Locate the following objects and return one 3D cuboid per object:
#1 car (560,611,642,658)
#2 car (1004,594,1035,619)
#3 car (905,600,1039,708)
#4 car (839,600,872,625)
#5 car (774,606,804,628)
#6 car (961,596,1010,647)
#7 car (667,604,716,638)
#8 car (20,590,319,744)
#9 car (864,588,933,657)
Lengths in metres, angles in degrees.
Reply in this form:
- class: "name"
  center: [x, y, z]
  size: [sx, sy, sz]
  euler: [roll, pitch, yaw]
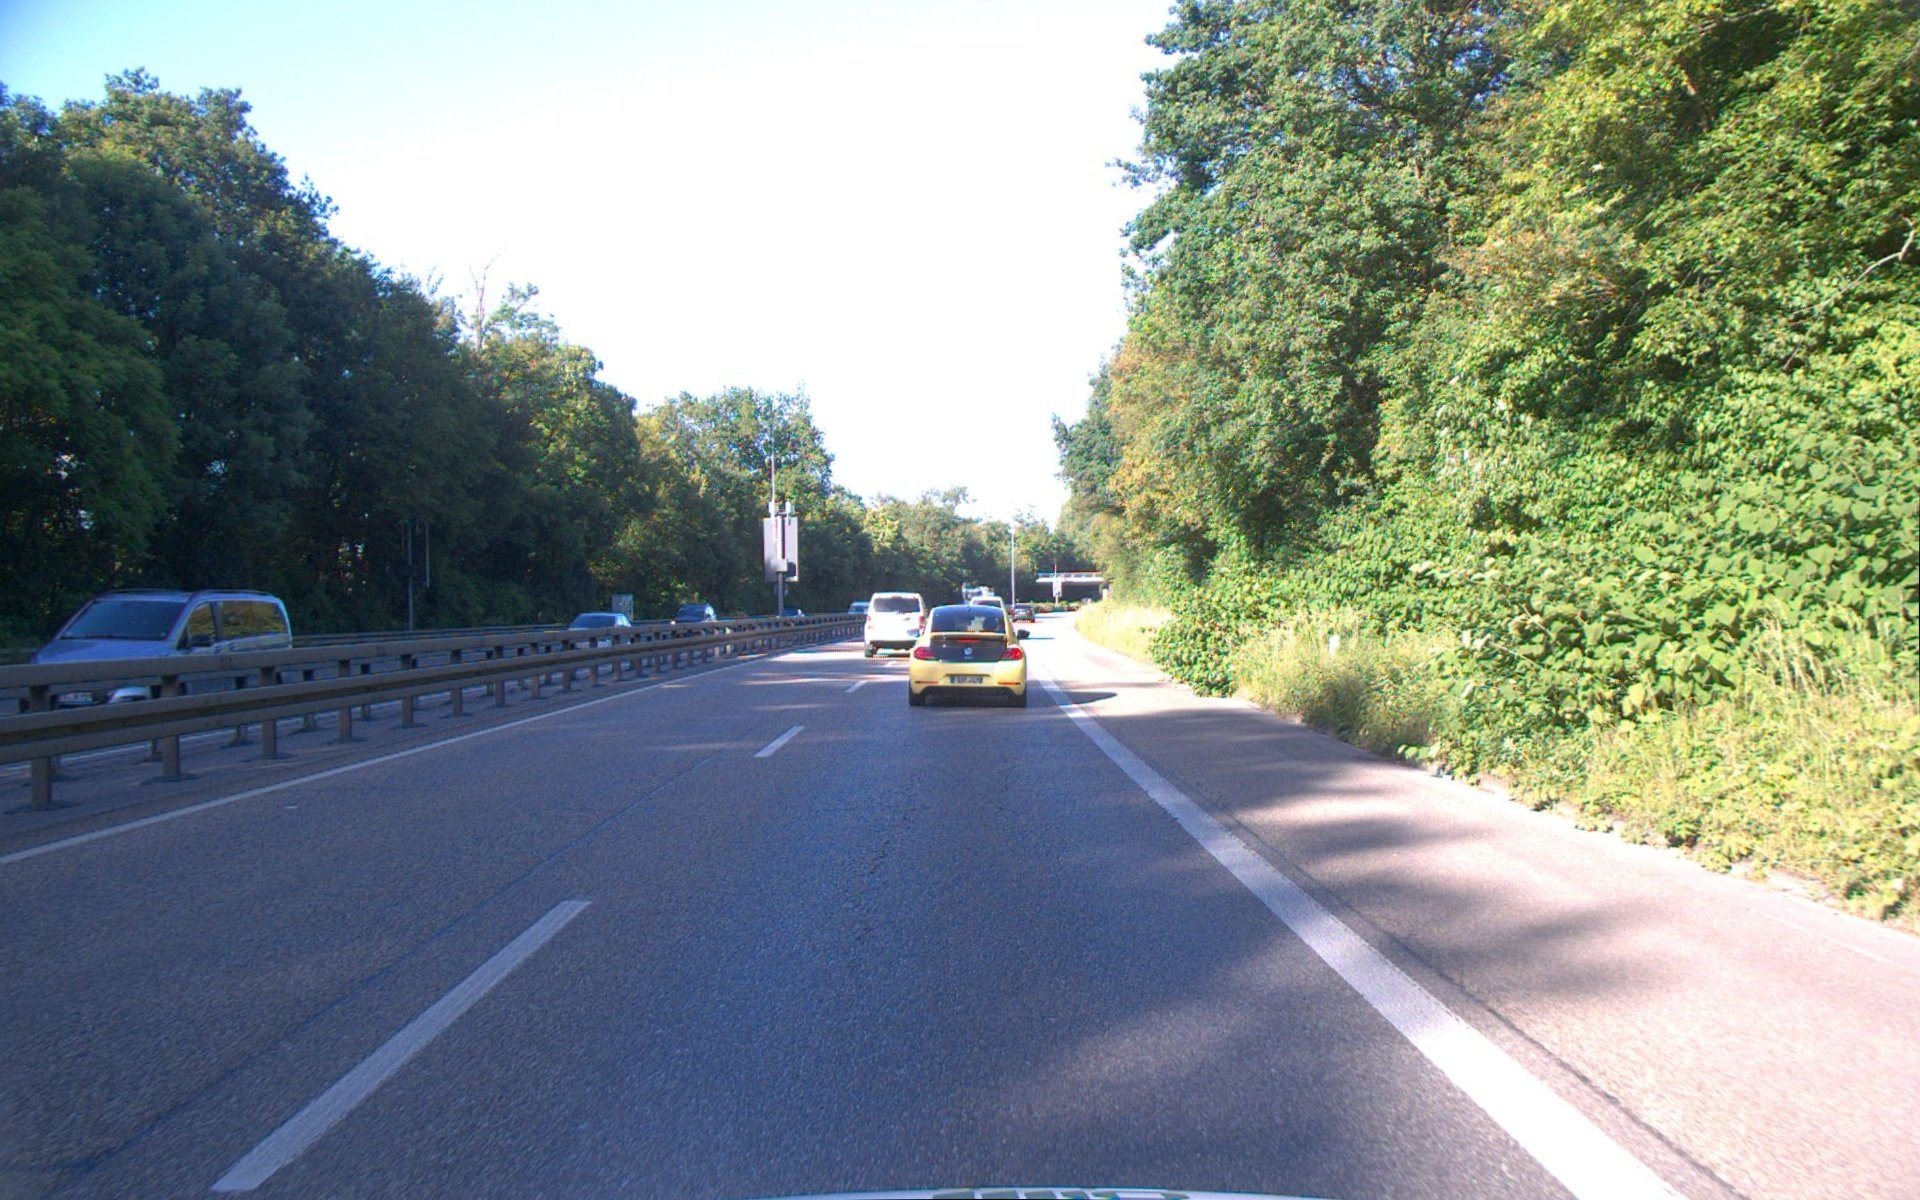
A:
- class: "car"
  center: [-11.320, 1.066, 52.330]
  size: [1.564, 1.337, 3.911]
  euler: [-2, 0, 2]
- class: "car"
  center: [4.779, 0.486, 132.013]
  size: [2.216, 1.908, 5.078]
  euler: [-2, 0, 4]
- class: "car"
  center: [0.120, 0.771, 25.360]
  size: [1.900, 1.534, 3.421]
  euler: [1, 0, -2]
- class: "car"
  center: [-8.066, 0.942, 128.227]
  size: [1.952, 1.820, 5.029]
  euler: [-2, 0, 2]
- class: "car"
  center: [-12.048, 1.168, 116.533]
  size: [1.564, 1.506, 3.911]
  euler: [-1, 0, 2]
- class: "car"
  center: [1.097, 0.875, 70.606]
  size: [1.952, 2.049, 4.001]
  euler: [-2, 0, 1]
- class: "car"
  center: [-13.951, 1.061, 86.087]
  size: [1.564, 1.667, 4.676]
  euler: [-2, 0, 2]
- class: "car"
  center: [-11.426, 0.875, 24.426]
  size: [1.849, 1.936, 5.414]
  euler: [-2, 0, -1]
- class: "car"
  center: [-1.712, 0.621, 46.775]
  size: [1.705, 1.862, 3.423]
  euler: [0, 0, 1]
